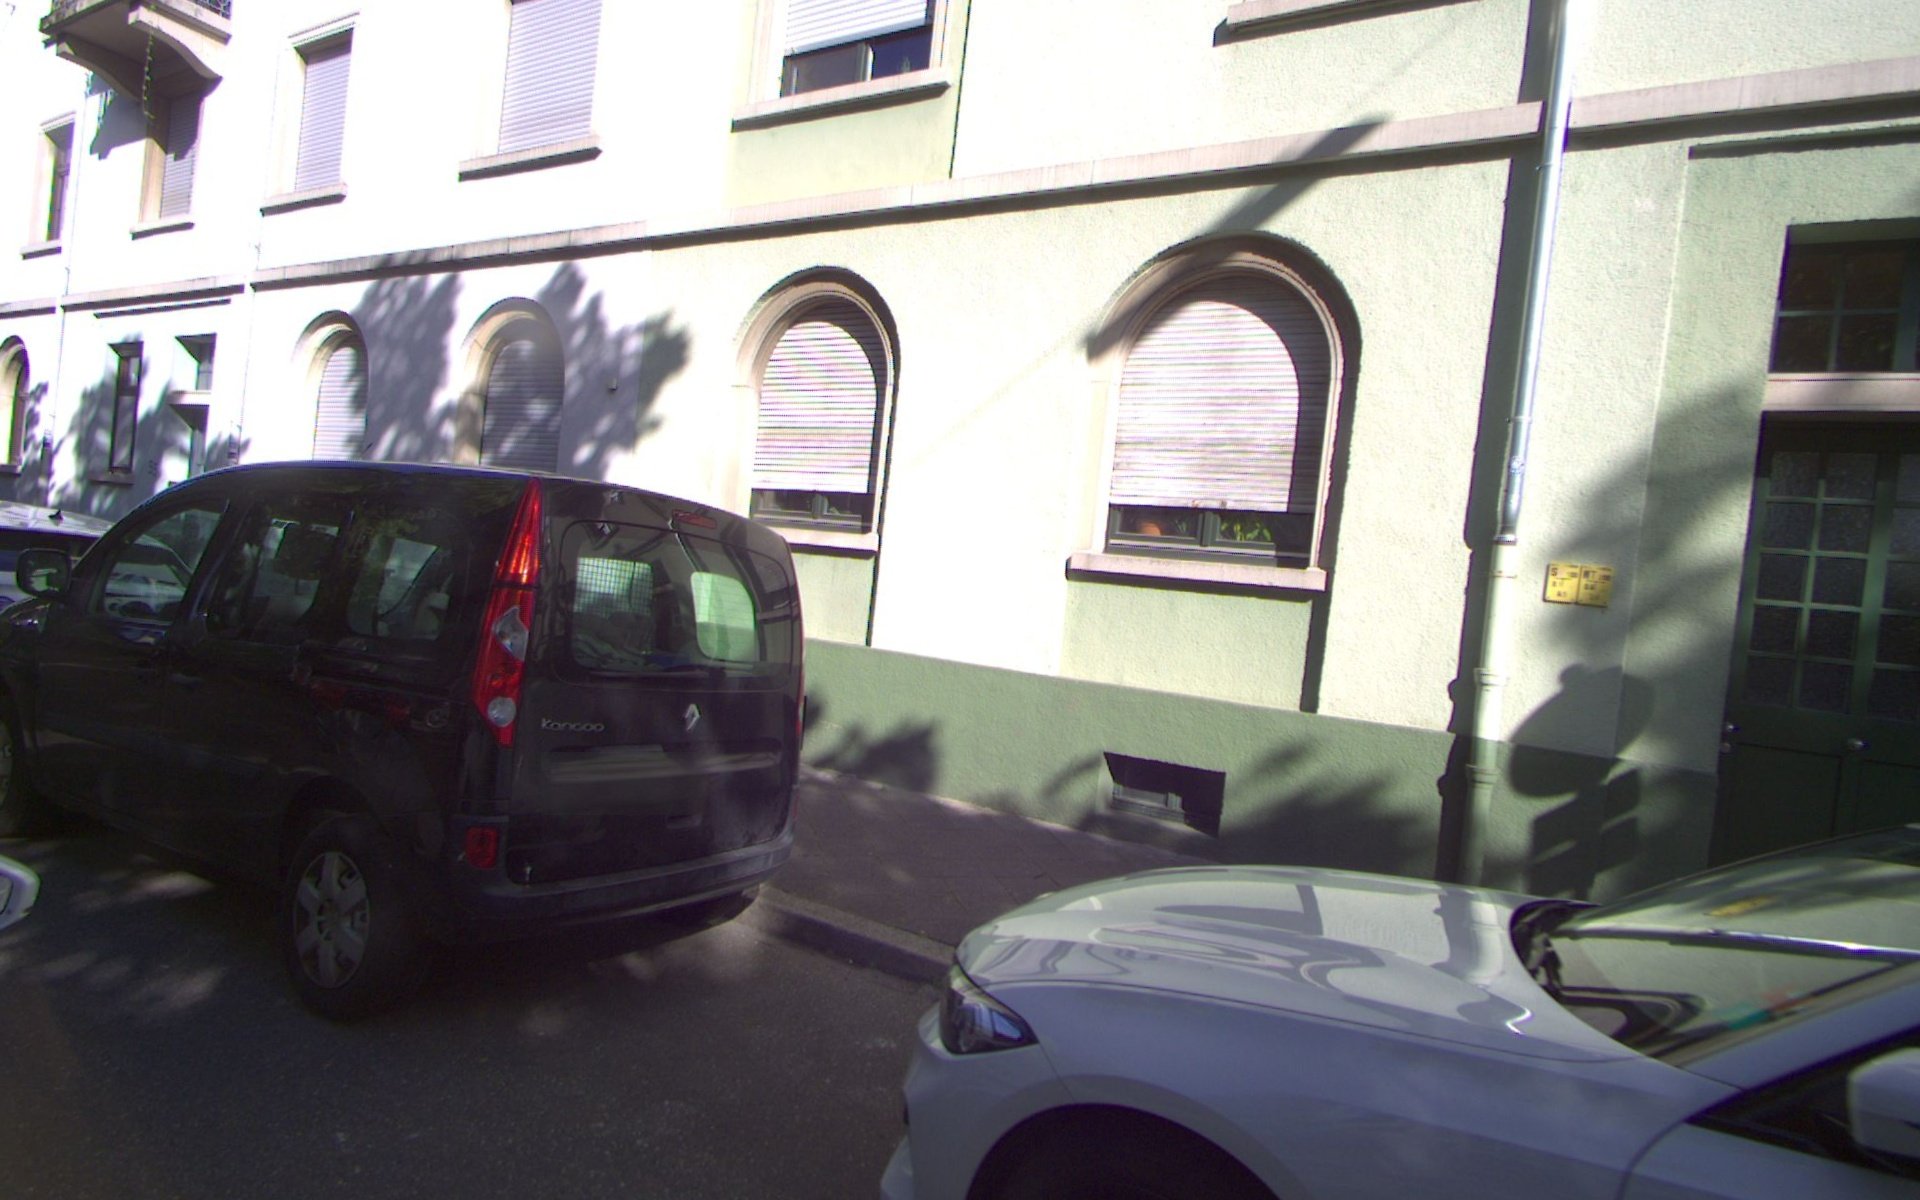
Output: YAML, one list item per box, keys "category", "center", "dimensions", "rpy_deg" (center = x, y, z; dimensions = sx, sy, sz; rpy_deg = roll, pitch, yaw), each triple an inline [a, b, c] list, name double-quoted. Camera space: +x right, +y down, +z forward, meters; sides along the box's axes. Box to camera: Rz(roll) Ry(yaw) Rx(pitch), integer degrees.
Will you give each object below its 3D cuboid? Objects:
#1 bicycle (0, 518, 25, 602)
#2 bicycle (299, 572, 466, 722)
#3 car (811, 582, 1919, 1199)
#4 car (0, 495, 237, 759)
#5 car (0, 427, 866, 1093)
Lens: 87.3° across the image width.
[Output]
- category: "bicycle"
  center: [-14.839, -0.674, 15.055]
  dimensions: [1.814, 1.201, 0.408]
  rpy_deg: [7, 1, 21]
- category: "bicycle"
  center: [-5.612, 0.425, 9.731]
  dimensions: [1.950, 1.196, 0.395]
  rpy_deg: [7, 1, 30]
- category: "car"
  center: [1.971, 0.975, 1.724]
  dimensions: [4.211, 1.531, 1.706]
  rpy_deg: [6, 1, 30]
- category: "car"
  center: [-7.056, -0.041, 6.881]
  dimensions: [4.490, 1.438, 1.609]
  rpy_deg: [6, 1, 29]
- category: "car"
  center: [-2.621, 0.331, 4.525]
  dimensions: [3.921, 1.817, 1.773]
  rpy_deg: [6, 1, 29]
